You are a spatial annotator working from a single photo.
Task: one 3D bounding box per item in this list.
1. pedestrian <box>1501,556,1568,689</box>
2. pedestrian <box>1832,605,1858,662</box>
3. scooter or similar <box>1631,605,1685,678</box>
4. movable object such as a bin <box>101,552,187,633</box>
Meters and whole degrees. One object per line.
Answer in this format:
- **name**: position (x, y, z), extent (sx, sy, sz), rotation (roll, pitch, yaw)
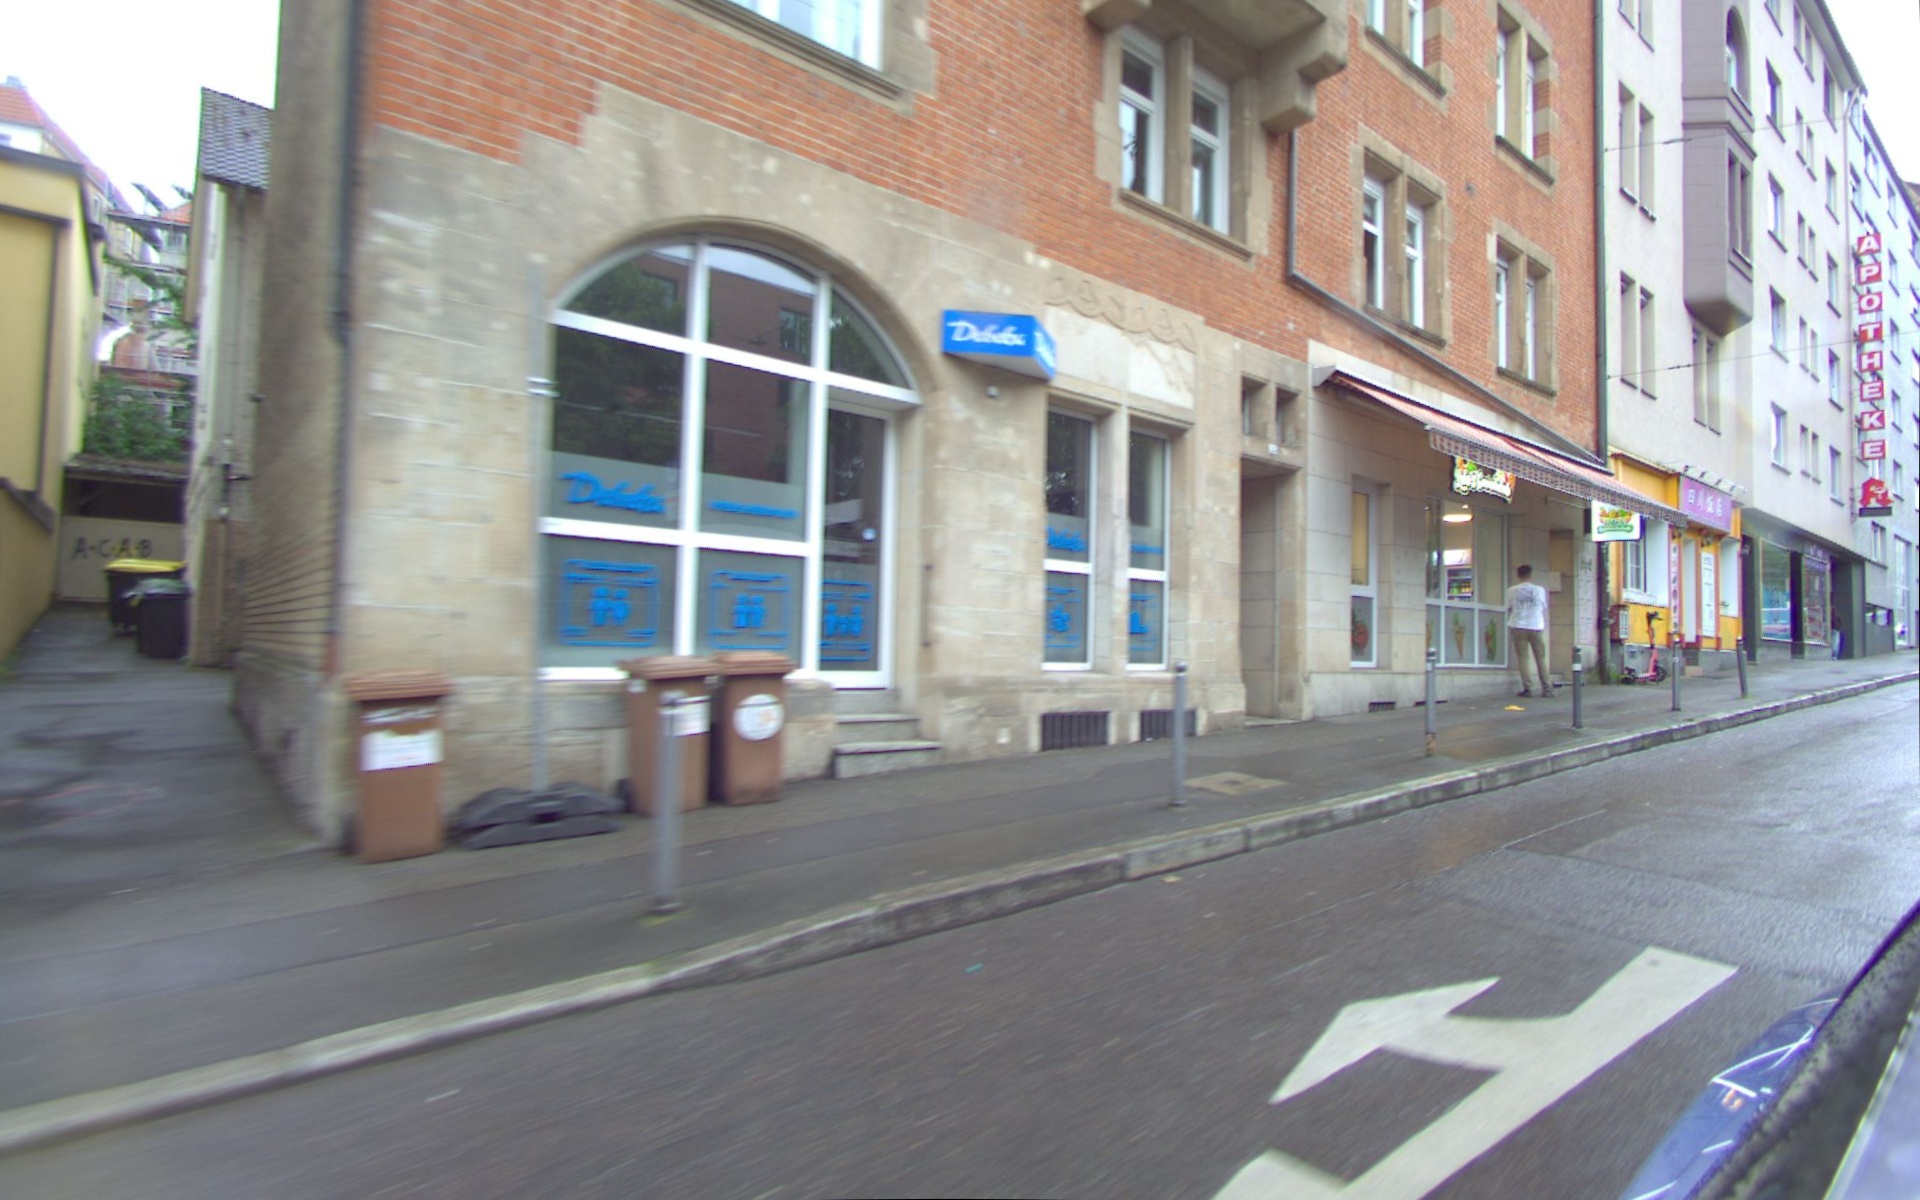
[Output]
- **pedestrian**: position (8.168, 0.302, 14.409), extent (0.569, 1.853, 0.563), rotation (1, 2, 3)
- **pedestrian**: position (26.228, 0.995, 30.006), extent (0.478, 1.666, 0.328), rotation (-2, -2, 30)
- **scooter or similar**: position (12.058, 0.708, 17.475), extent (1.170, 1.237, 0.258), rotation (1, -2, -30)
- **movable object such as a bin**: position (-15.085, -0.154, 18.756), extent (1.088, 1.386, 1.494), rotation (1, 4, -33)
